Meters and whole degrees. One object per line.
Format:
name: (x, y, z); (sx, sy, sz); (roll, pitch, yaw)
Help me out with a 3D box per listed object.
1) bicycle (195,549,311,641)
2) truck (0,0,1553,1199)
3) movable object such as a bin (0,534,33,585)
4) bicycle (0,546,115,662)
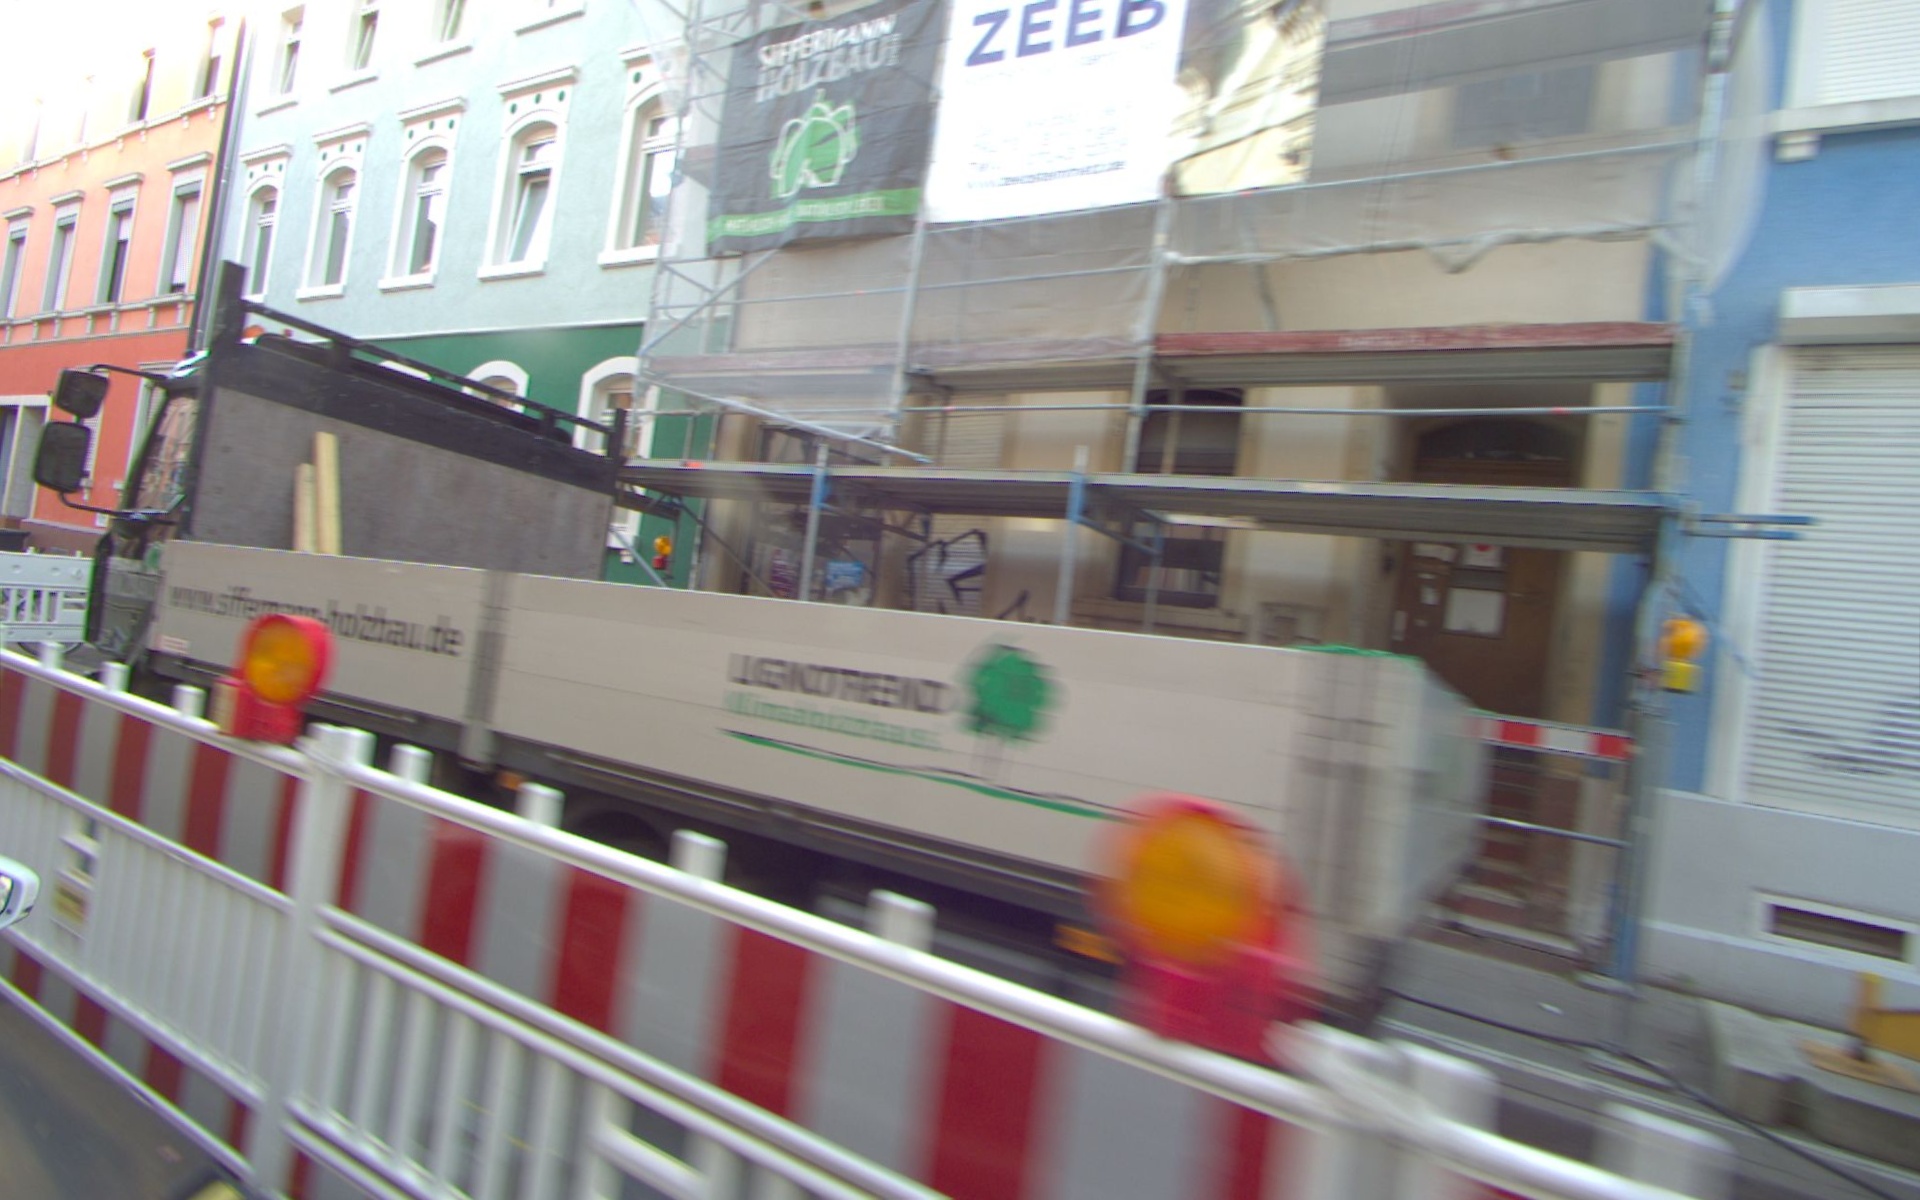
bicycle: (-10.220, -0.083, 14.521); (1.804, 1.143, 0.655); (6, 2, 31)
truck: (-1.550, 0.060, 4.768); (7.271, 2.843, 2.669); (6, -4, 32)
movable object such as a bin: (-18.352, -0.792, 19.323); (0.569, 0.917, 0.598); (5, 0, 30)
bicycle: (-10.277, -0.015, 10.620); (0.632, 1.121, 1.858); (7, -4, 24)
